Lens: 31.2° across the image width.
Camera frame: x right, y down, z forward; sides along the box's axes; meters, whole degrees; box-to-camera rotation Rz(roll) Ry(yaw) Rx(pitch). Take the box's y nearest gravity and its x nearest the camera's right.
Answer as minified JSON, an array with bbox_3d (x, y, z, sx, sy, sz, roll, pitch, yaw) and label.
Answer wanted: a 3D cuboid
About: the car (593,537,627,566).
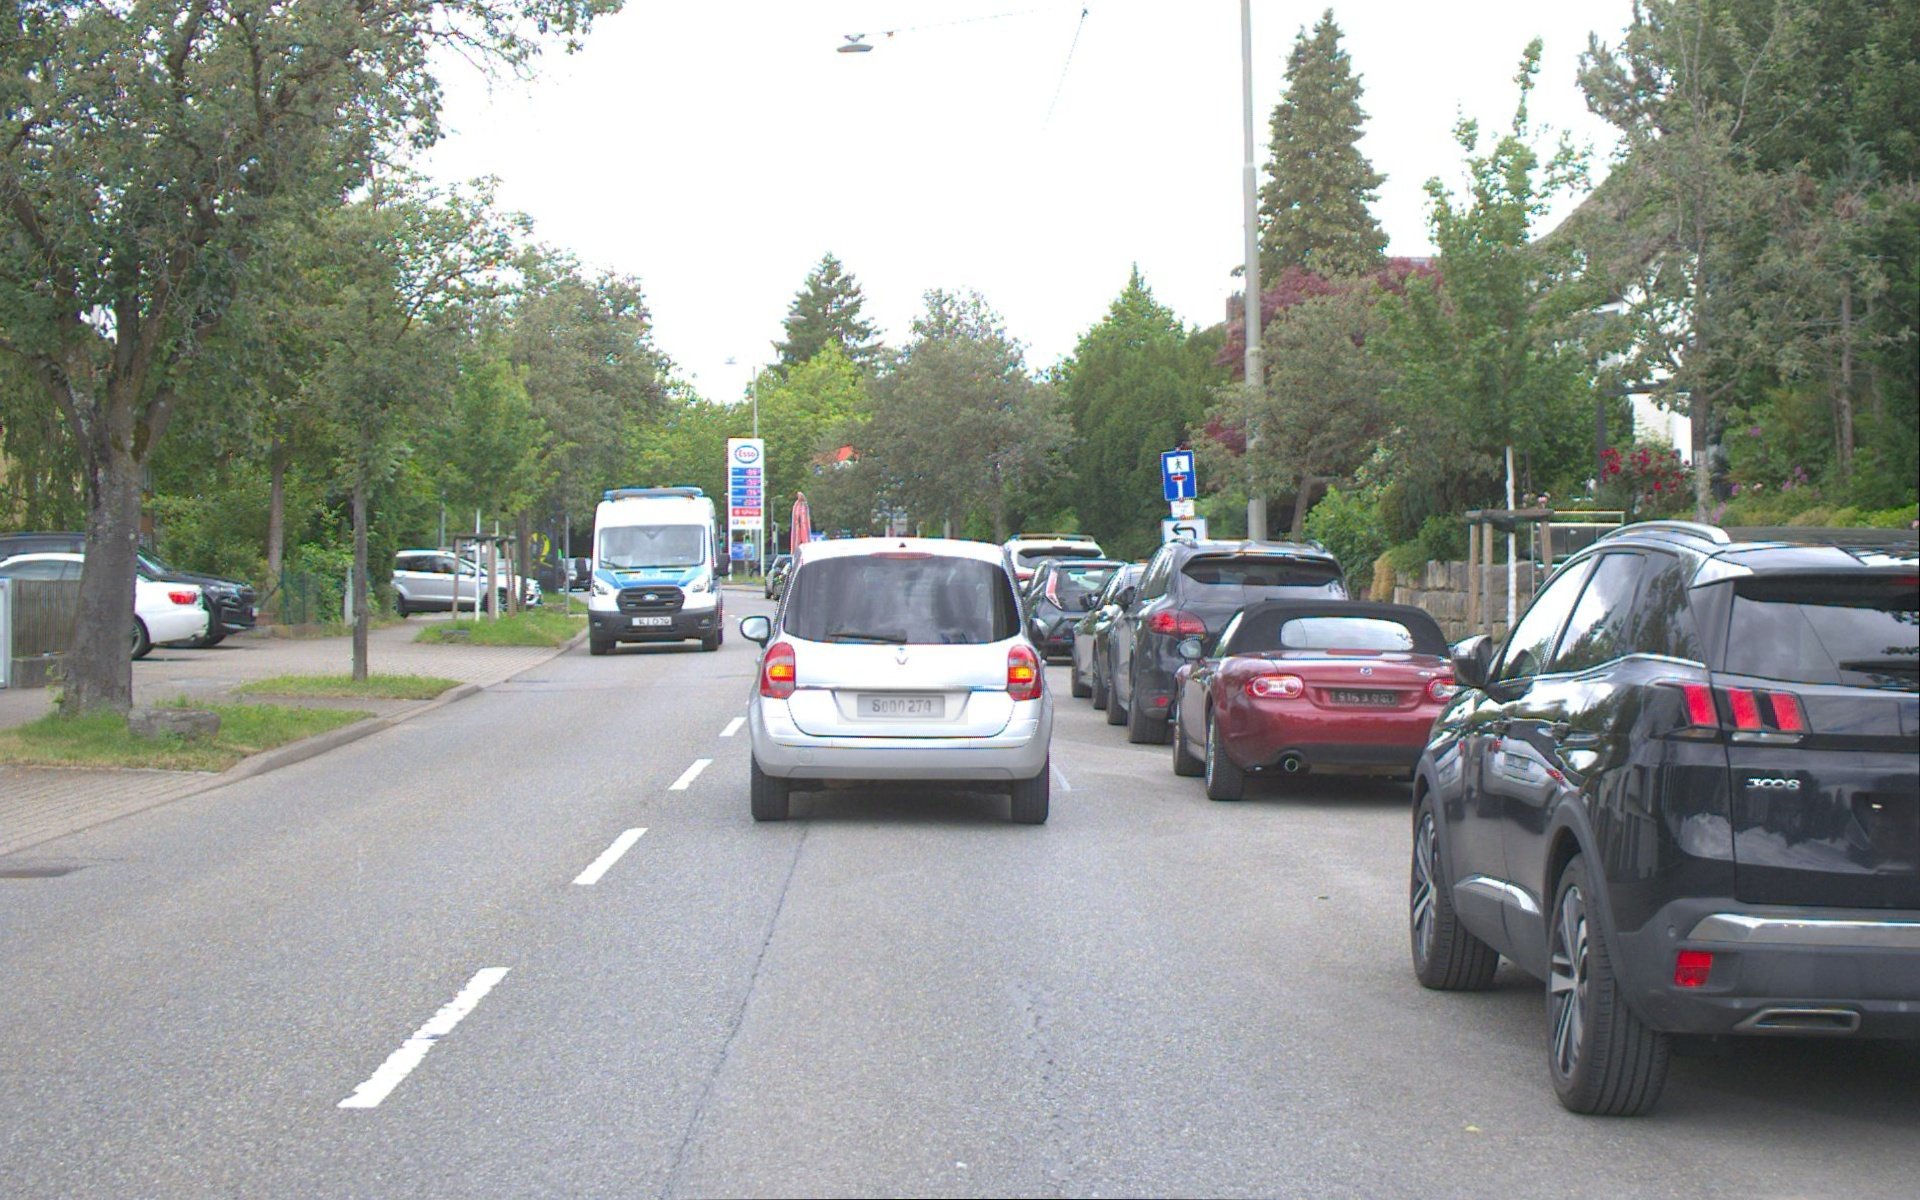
[{"bbox_3d":[-18.115,-2.502,177.917,1.544,1.465,3.743,0,1,-9],"label":"car"}]

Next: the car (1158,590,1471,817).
[{"bbox_3d":[2.196,0.601,22.151,1.481,1.232,3.884,2,1,-1],"label":"car"}]

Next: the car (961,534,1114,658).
[{"bbox_3d":[1.136,-0.096,52.788,1.799,1.772,4.706,1,1,-5],"label":"car"}]

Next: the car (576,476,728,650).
[{"bbox_3d":[-4.886,-0.608,55.193,2.073,2.573,5.300,-2,1,-2],"label":"car"}]

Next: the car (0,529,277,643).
[{"bbox_3d":[-12.599,-0.219,51.450,4.333,1.612,1.973,1,0,0],"label":"car"}]

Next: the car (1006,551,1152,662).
[{"bbox_3d":[1.611,0.060,47.513,1.558,1.438,3.507,1,1,-5],"label":"car"}]

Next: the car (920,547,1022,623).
[{"bbox_3d":[0.188,-0.317,67.882,1.626,1.447,3.876,0,1,-6],"label":"car"}]

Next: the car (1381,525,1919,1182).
[{"bbox_3d":[2.442,0.611,10.541,1.688,1.603,4.109,1,1,-1],"label":"car"}]

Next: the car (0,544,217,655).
[{"bbox_3d":[-12.151,-0.045,45.680,4.277,1.363,1.817,2,0,-8],"label":"car"}]

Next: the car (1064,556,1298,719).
[{"bbox_3d":[2.112,0.320,34.092,1.830,1.452,4.551,1,1,-2],"label":"car"}]

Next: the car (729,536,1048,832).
[{"bbox_3d":[-0.385,0.414,20.008,1.679,1.554,3.512,1,1,0],"label":"car"}]

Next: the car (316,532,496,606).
[{"bbox_3d":[-13.401,-0.743,83.321,4.086,1.700,1.747,1,0,-2],"label":"car"}]

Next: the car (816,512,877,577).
[{"bbox_3d":[-5.277,-2.547,159.431,2.281,2.901,5.280,1,1,-7],"label":"car"}]

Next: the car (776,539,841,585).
[{"bbox_3d":[-5.033,-1.263,113.747,1.695,1.501,3.974,0,1,-10],"label":"car"}]

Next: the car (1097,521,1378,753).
[{"bbox_3d":[2.222,0.249,28.658,1.830,1.706,4.549,2,1,-1],"label":"car"}]
